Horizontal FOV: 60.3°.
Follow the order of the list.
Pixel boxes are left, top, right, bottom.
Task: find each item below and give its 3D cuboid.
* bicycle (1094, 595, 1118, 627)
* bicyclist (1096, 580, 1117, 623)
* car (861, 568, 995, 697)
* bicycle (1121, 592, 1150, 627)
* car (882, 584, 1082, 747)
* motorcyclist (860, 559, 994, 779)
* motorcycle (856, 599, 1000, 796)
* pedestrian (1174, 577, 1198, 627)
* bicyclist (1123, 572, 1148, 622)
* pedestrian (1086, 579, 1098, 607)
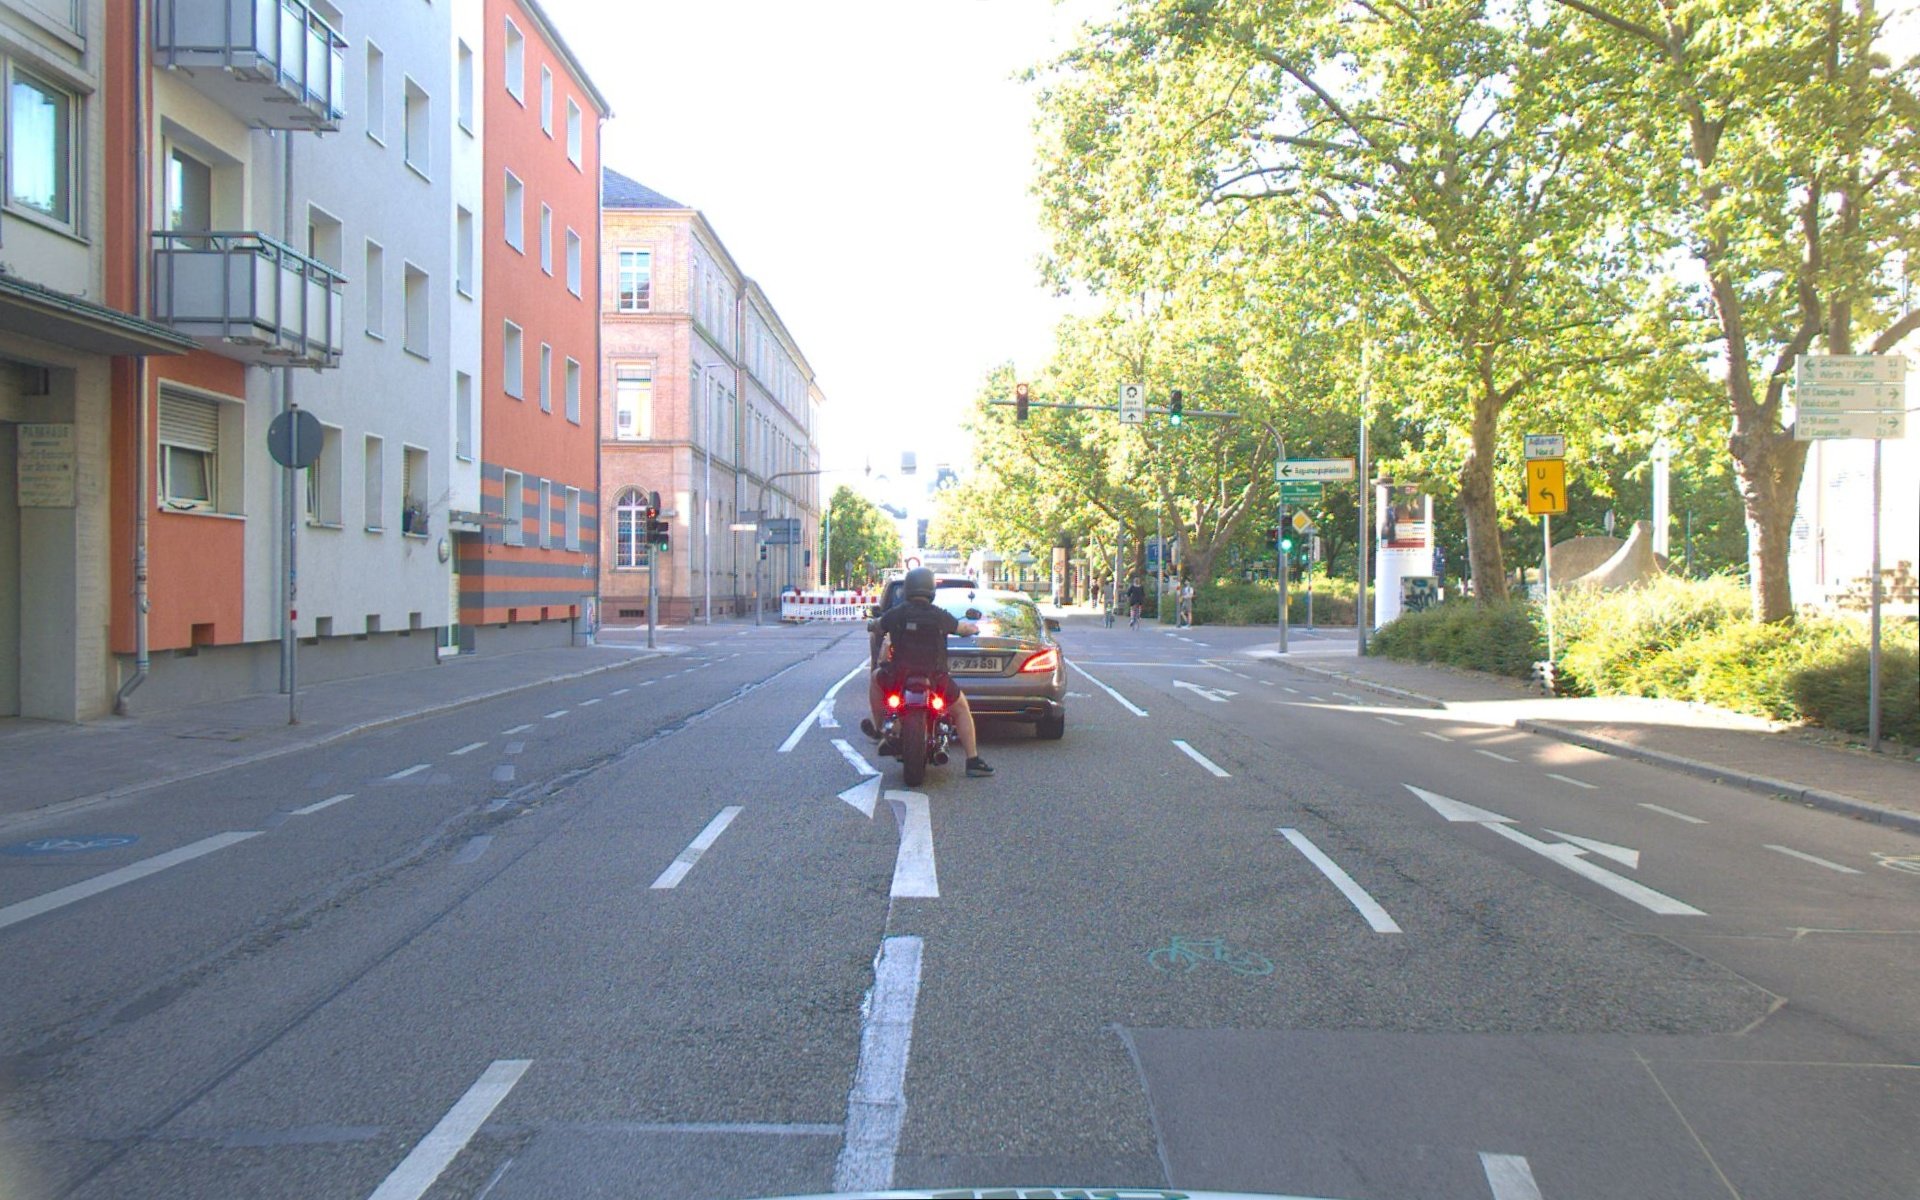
[{"bbox_3d":[5.455,0.400,61.689,0.643,1.131,2.185,2,0,-1],"label":"bicycle"},{"bbox_3d":[5.465,0.052,61.728,0.643,1.557,0.906,2,0,-1],"label":"bicyclist"},{"bbox_3d":[-0.542,0.426,24.095,1.599,1.679,3.846,2,0,-6],"label":"car"},{"bbox_3d":[5.568,0.292,52.588,0.643,1.089,1.926,2,0,-1],"label":"bicycle"},{"bbox_3d":[0.174,0.576,16.886,1.791,1.445,3.814,1,1,-1],"label":"car"},{"bbox_3d":[-0.258,0.504,12.992,0.991,1.630,1.406,0,0,-1],"label":"motorcyclist"},{"bbox_3d":[-0.240,0.676,12.792,0.991,1.329,2.672,0,1,-1],"label":"motorcycle"},{"bbox_3d":[8.333,0.075,60.876,0.566,1.805,0.618,2,0,-35],"label":"pedestrian"},{"bbox_3d":[5.577,-0.108,52.595,0.643,1.557,0.852,2,0,-1],"label":"bicyclist"},{"bbox_3d":[7.730,-0.392,96.818,0.580,1.606,0.527,2,0,0],"label":"pedestrian"}]
